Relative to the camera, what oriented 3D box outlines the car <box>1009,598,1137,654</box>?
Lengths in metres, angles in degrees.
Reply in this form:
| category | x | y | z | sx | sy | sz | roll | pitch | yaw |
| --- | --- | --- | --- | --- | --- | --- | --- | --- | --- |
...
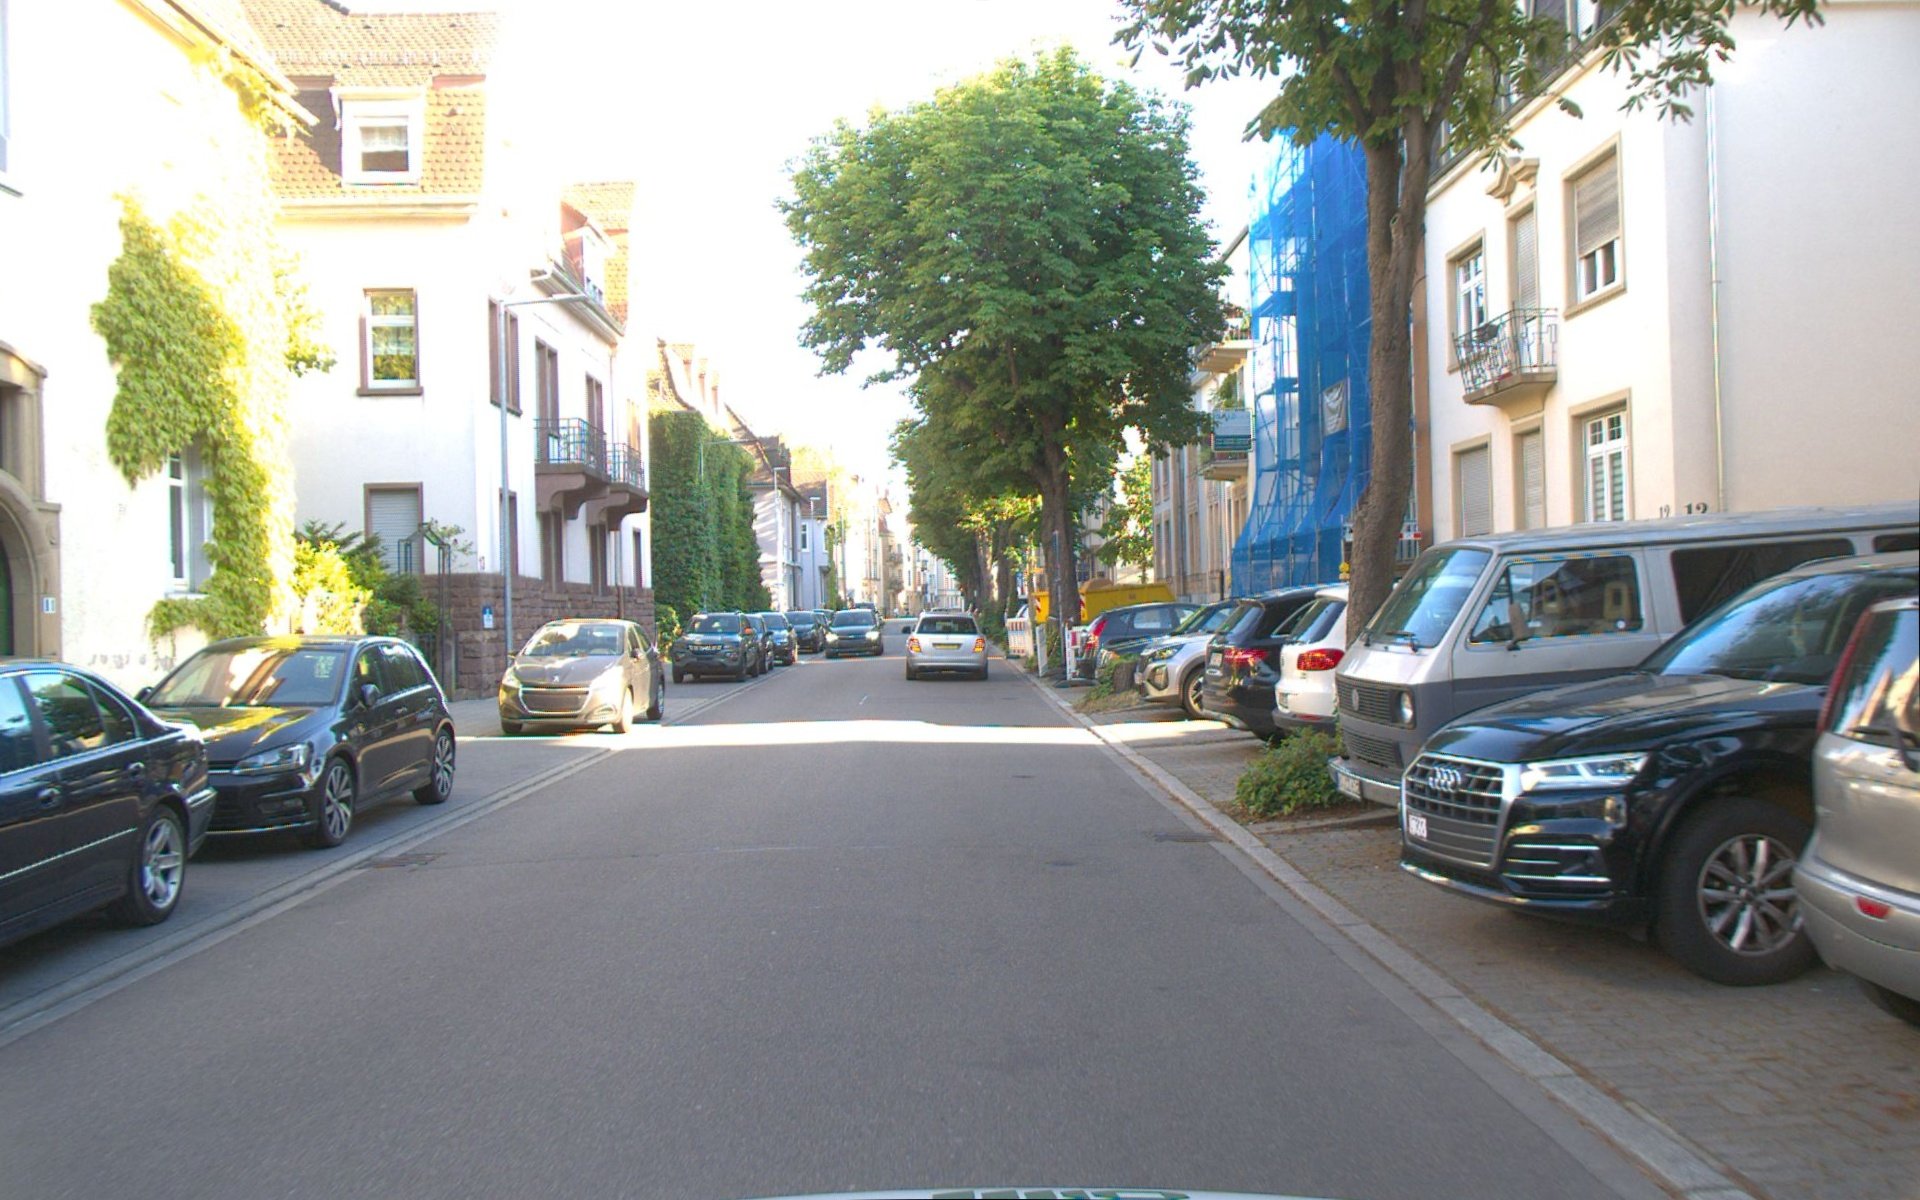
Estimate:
| category | x | y | z | sx | sy | sz | roll | pitch | yaw |
| --- | --- | --- | --- | --- | --- | --- | --- | --- | --- |
| car | 3.690 | 0.840 | 54.567 | 4.059 | 1.561 | 1.687 | -4 | 0 | 1 |

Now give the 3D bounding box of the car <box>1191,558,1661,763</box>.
| category | x | y | z | sx | sy | sz | roll | pitch | yaw |
| --- | --- | --- | --- | --- | --- | --- | --- | --- | --- |
| car | 4.652 | 0.578 | 16.908 | 4.245 | 1.712 | 1.705 | -4 | 0 | -2 |

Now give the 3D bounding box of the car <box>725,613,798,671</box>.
| category | x | y | z | sx | sy | sz | roll | pitch | yaw |
| --- | --- | --- | --- | --- | --- | --- | --- | --- | --- |
| car | -5.619 | 1.159 | 47.237 | 1.757 | 1.487 | 4.774 | -1 | 0 | -3 |

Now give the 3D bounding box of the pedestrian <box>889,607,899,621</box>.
| category | x | y | z | sx | sy | sz | roll | pitch | yaw |
| --- | --- | --- | --- | --- | --- | --- | --- | --- | --- |
| pedestrian | -8.562 | 1.795 | 215.617 | 1.195 | 1.752 | 1.503 | -1 | 0 | 2 |

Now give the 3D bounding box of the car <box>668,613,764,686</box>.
| category | x | y | z | sx | sy | sz | roll | pitch | yaw |
| --- | --- | --- | --- | --- | --- | --- | --- | --- | --- |
| car | -5.415 | 1.066 | 37.098 | 1.620 | 1.512 | 3.763 | -1 | 0 | -1 |

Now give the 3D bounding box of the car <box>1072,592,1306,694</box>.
| category | x | y | z | sx | sy | sz | roll | pitch | yaw |
| --- | --- | --- | --- | --- | --- | --- | --- | --- | --- |
| car | 4.061 | 0.749 | 29.797 | 3.906 | 1.518 | 1.851 | -4 | 0 | 0 |

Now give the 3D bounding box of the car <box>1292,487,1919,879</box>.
| category | x | y | z | sx | sy | sz | roll | pitch | yaw |
| --- | --- | --- | --- | --- | --- | --- | --- | --- | --- |
| car | 4.468 | 0.429 | 10.157 | 4.381 | 2.049 | 1.895 | -2 | 0 | -3 |

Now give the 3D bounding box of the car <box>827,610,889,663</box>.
| category | x | y | z | sx | sy | sz | roll | pitch | yaw |
| --- | --- | --- | --- | --- | --- | --- | --- | --- | --- |
| car | -3.227 | 1.136 | 52.891 | 1.736 | 1.474 | 3.999 | -3 | 0 | -1 |

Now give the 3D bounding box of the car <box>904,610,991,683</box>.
| category | x | y | z | sx | sy | sz | roll | pitch | yaw |
| --- | --- | --- | --- | --- | --- | --- | --- | --- | --- |
| car | -0.266 | 0.984 | 35.820 | 1.747 | 1.462 | 3.850 | -1 | -1 | 0 |

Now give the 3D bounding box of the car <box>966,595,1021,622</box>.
| category | x | y | z | sx | sy | sz | roll | pitch | yaw |
| --- | --- | --- | --- | --- | --- | --- | --- | --- | --- |
| car | 2.642 | 0.670 | 131.682 | 4.136 | 1.929 | 1.904 | -4 | 0 | -3 |

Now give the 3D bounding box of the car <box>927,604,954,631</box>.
| category | x | y | z | sx | sy | sz | roll | pitch | yaw |
| --- | --- | --- | --- | --- | --- | --- | --- | --- | --- |
| car | -1.203 | 1.084 | 102.941 | 1.590 | 1.597 | 3.680 | -2 | 0 | 0 |

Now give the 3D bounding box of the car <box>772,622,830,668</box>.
| category | x | y | z | sx | sy | sz | roll | pitch | yaw |
| --- | --- | --- | --- | --- | --- | --- | --- | --- | --- |
| car | -5.490 | 1.536 | 57.490 | 1.616 | 1.445 | 4.098 | -1 | 0 | -1 |

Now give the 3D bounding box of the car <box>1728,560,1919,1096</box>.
| category | x | y | z | sx | sy | sz | roll | pitch | yaw |
| --- | --- | --- | --- | --- | --- | --- | --- | --- | --- |
| car | 4.619 | 0.595 | 5.151 | 3.646 | 1.581 | 1.638 | -3 | -1 | -3 |

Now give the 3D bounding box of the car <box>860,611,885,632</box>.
| category | x | y | z | sx | sy | sz | roll | pitch | yaw |
| --- | --- | --- | --- | --- | --- | --- | --- | --- | --- |
| car | -6.581 | 1.602 | 124.603 | 1.660 | 1.472 | 4.357 | -1 | 0 | -1 |

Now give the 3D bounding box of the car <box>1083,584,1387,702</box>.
| category | x | y | z | sx | sy | sz | roll | pitch | yaw |
| --- | --- | --- | --- | --- | --- | --- | --- | --- | --- |
| car | 4.458 | 0.688 | 27.315 | 4.623 | 1.561 | 1.850 | -4 | 0 | -1 |

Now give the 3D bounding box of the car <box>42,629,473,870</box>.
| category | x | y | z | sx | sy | sz | roll | pitch | yaw |
| --- | --- | --- | --- | --- | --- | --- | --- | --- | --- |
| car | -5.131 | 0.996 | 12.727 | 1.620 | 1.440 | 4.166 | -1 | 0 | -2 |

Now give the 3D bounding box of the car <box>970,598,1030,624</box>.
| category | x | y | z | sx | sy | sz | roll | pitch | yaw |
| --- | --- | --- | --- | --- | --- | --- | --- | --- | --- |
| car | 2.780 | 0.789 | 114.981 | 4.104 | 1.501 | 1.852 | -4 | -1 | 1 |

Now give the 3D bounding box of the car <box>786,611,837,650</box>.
| category | x | y | z | sx | sy | sz | roll | pitch | yaw |
| --- | --- | --- | --- | --- | --- | --- | --- | --- | --- |
| car | -5.728 | 1.163 | 64.113 | 1.652 | 1.404 | 3.720 | -1 | 0 | -1 |

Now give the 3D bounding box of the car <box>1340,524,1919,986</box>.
| category | x | y | z | sx | sy | sz | roll | pitch | yaw |
| --- | --- | --- | --- | --- | --- | --- | --- | --- | --- |
| car | 4.085 | 0.569 | 7.714 | 4.098 | 1.753 | 1.762 | -3 | -1 | -9 |

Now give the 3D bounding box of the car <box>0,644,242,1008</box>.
| category | x | y | z | sx | sy | sz | roll | pitch | yaw |
| --- | --- | --- | --- | --- | --- | --- | --- | --- | --- |
| car | -4.984 | 1.019 | 7.415 | 1.675 | 1.496 | 4.631 | -1 | 0 | -3 |

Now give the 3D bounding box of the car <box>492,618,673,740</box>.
| category | x | y | z | sx | sy | sz | roll | pitch | yaw |
| --- | --- | --- | --- | --- | --- | --- | --- | --- | --- |
| car | -5.144 | 1.029 | 23.014 | 1.620 | 1.472 | 4.004 | -1 | 0 | -1 |

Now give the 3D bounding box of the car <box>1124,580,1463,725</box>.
| category | x | y | z | sx | sy | sz | roll | pitch | yaw |
| --- | --- | --- | --- | --- | --- | --- | --- | --- | --- |
| car | 4.377 | 0.674 | 22.171 | 4.072 | 1.566 | 1.850 | -4 | 0 | -1 |

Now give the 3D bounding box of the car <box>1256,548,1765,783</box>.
| category | x | y | z | sx | sy | sz | roll | pitch | yaw |
| --- | --- | --- | --- | --- | --- | --- | --- | --- | --- |
| car | 4.730 | 0.543 | 14.621 | 3.868 | 1.712 | 1.706 | -4 | 0 | 2 |

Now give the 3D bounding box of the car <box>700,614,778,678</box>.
| category | x | y | z | sx | sy | sz | roll | pitch | yaw |
| --- | --- | --- | --- | --- | --- | --- | --- | --- | --- |
| car | -5.536 | 1.120 | 41.754 | 1.620 | 1.472 | 3.842 | -1 | 0 | -3 |

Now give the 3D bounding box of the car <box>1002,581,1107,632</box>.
| category | x | y | z | sx | sy | sz | roll | pitch | yaw |
| --- | --- | --- | --- | --- | --- | --- | --- | --- | --- |
| car | 3.991 | 0.273 | 70.481 | 4.228 | 1.838 | 1.999 | -4 | 0 | -2 |
